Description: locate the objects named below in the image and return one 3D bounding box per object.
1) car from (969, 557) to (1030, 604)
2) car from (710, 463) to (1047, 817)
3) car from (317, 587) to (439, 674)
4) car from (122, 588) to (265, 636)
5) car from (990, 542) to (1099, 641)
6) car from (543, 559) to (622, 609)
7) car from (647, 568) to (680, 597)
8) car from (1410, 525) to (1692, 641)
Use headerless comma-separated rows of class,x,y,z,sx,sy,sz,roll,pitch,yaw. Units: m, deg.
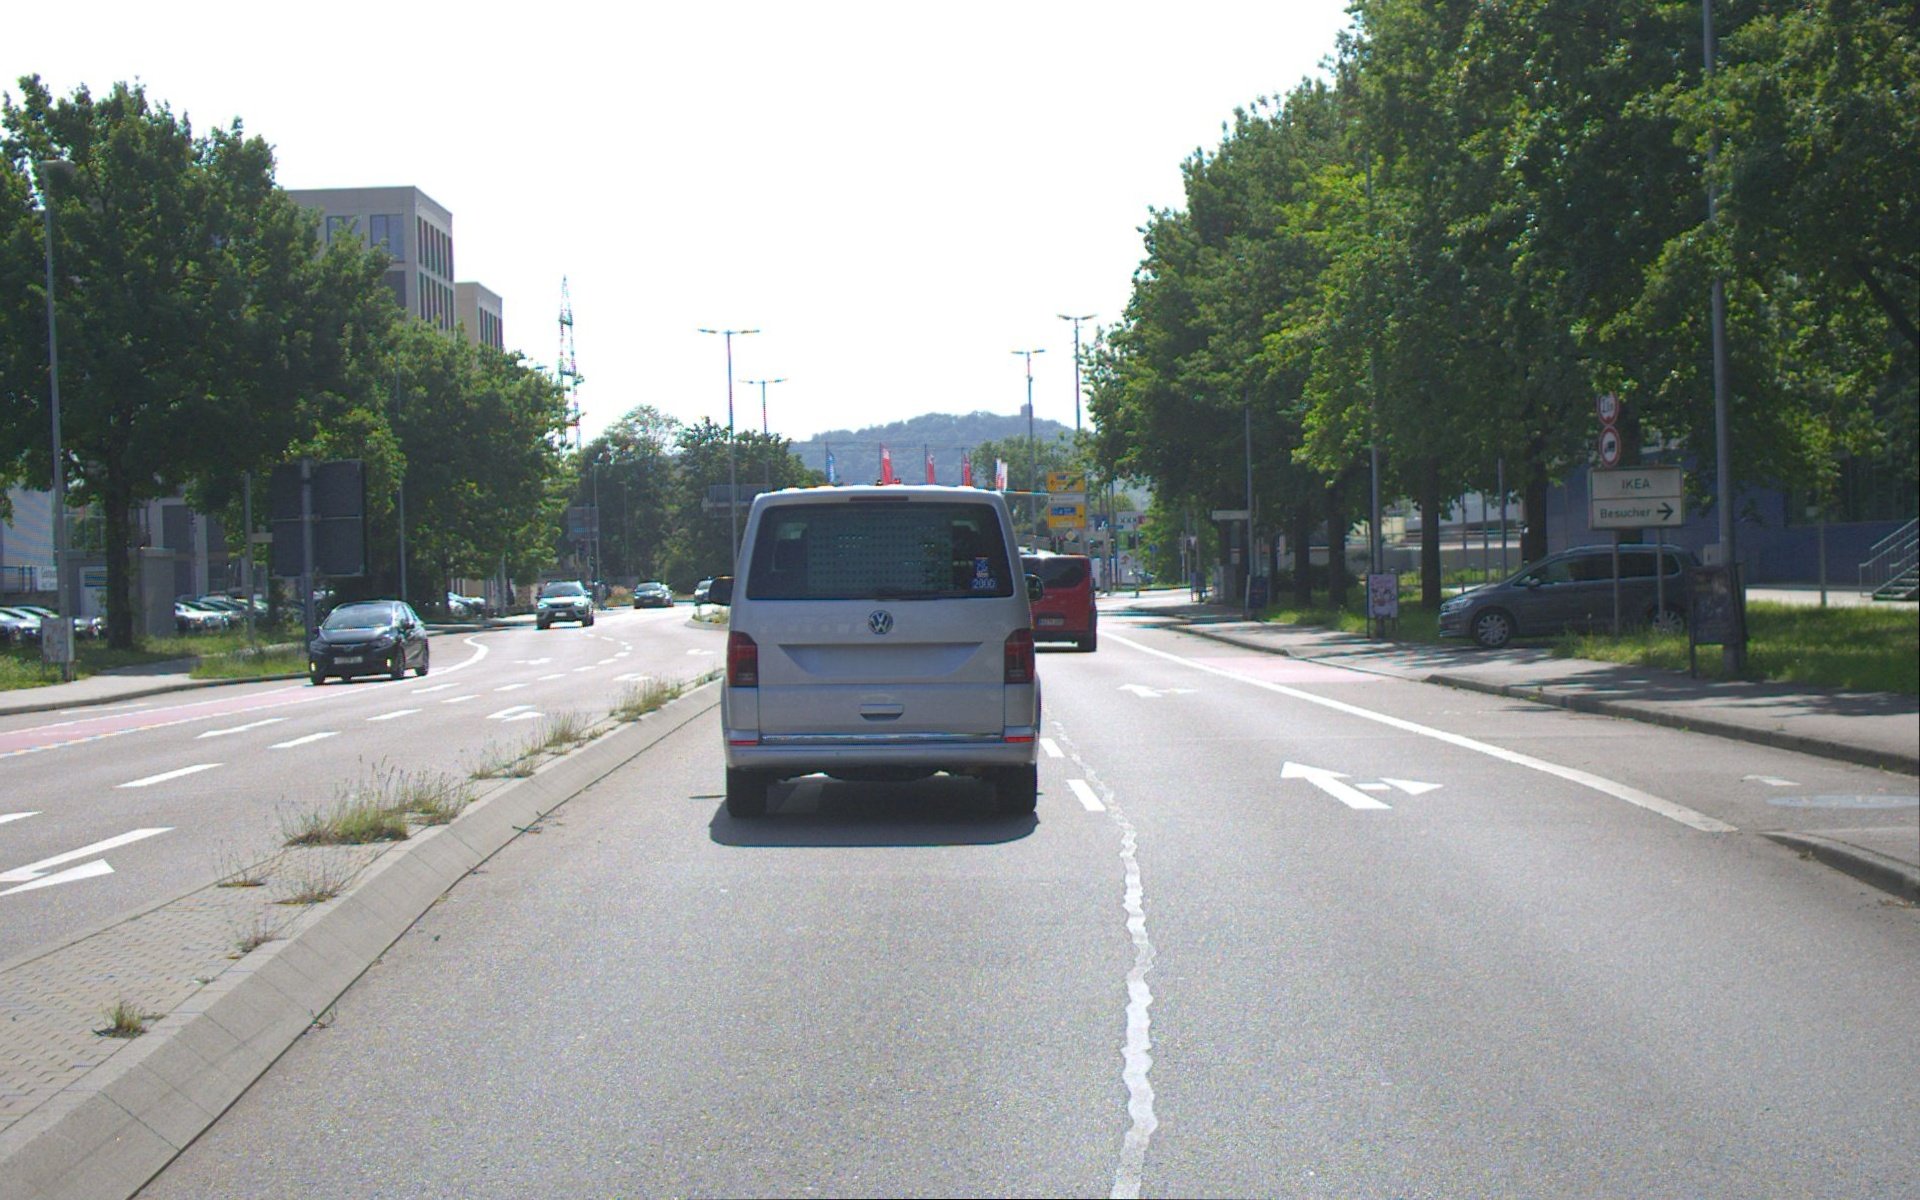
car,1.206,-0.625,107.380,1.746,1.453,4.476,0,1,-1
car,-0.492,0.201,21.292,1.884,1.983,4.000,0,1,-1
car,-11.235,0.568,66.576,1.698,1.513,4.027,-3,1,-1
car,-24.833,0.390,111.460,4.173,1.186,1.955,-5,1,-3
car,1.706,-0.199,70.989,1.967,1.961,5.126,0,1,-2
car,-12.954,-0.566,118.272,1.994,1.612,4.104,-3,1,3
car,-17.825,-1.070,206.976,1.738,1.613,4.210,-4,1,-3
car,9.773,-0.289,57.156,4.445,1.688,1.844,-3,0,6
